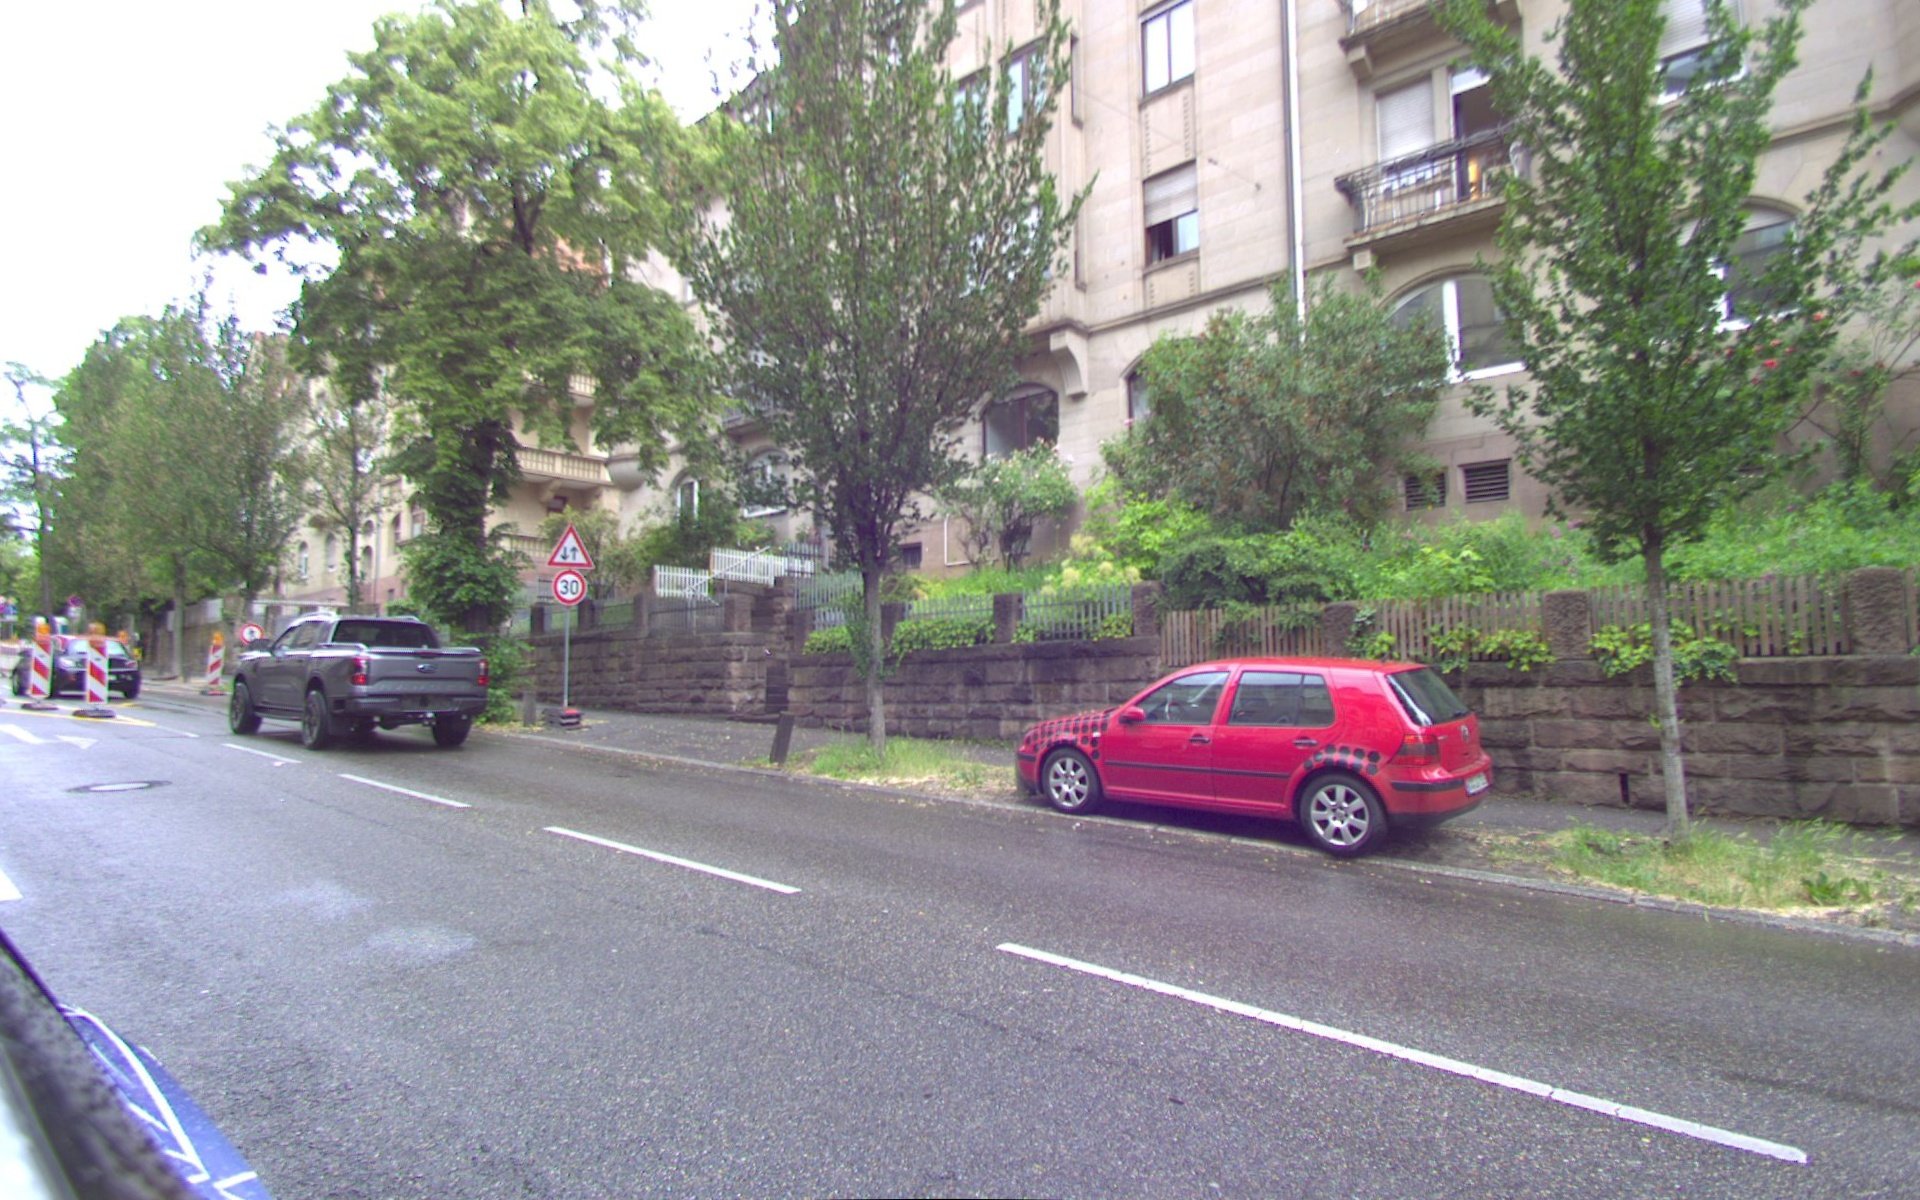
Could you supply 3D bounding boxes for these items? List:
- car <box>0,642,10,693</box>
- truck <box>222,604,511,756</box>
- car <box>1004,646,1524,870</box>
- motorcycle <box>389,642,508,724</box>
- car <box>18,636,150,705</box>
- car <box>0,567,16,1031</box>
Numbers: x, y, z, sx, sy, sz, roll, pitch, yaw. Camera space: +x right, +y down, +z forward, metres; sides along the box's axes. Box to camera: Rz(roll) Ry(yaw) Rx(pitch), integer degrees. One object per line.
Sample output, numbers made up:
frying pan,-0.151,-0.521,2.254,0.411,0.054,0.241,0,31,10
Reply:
car,-31.239,2.064,31.597,4.316,1.523,1.885,-2,-5,42
truck,-8.813,1.121,14.809,5.150,1.850,2.049,-2,-6,41
car,2.454,1.158,8.829,4.062,1.462,1.596,-2,-3,42
motorcycle,-9.718,1.529,19.158,3.058,1.425,0.792,-2,-2,38
car,-20.577,1.637,23.740,3.652,1.483,1.649,-2,-6,39
car,-5.398,0.766,4.160,4.520,1.685,1.799,-2,-3,42
